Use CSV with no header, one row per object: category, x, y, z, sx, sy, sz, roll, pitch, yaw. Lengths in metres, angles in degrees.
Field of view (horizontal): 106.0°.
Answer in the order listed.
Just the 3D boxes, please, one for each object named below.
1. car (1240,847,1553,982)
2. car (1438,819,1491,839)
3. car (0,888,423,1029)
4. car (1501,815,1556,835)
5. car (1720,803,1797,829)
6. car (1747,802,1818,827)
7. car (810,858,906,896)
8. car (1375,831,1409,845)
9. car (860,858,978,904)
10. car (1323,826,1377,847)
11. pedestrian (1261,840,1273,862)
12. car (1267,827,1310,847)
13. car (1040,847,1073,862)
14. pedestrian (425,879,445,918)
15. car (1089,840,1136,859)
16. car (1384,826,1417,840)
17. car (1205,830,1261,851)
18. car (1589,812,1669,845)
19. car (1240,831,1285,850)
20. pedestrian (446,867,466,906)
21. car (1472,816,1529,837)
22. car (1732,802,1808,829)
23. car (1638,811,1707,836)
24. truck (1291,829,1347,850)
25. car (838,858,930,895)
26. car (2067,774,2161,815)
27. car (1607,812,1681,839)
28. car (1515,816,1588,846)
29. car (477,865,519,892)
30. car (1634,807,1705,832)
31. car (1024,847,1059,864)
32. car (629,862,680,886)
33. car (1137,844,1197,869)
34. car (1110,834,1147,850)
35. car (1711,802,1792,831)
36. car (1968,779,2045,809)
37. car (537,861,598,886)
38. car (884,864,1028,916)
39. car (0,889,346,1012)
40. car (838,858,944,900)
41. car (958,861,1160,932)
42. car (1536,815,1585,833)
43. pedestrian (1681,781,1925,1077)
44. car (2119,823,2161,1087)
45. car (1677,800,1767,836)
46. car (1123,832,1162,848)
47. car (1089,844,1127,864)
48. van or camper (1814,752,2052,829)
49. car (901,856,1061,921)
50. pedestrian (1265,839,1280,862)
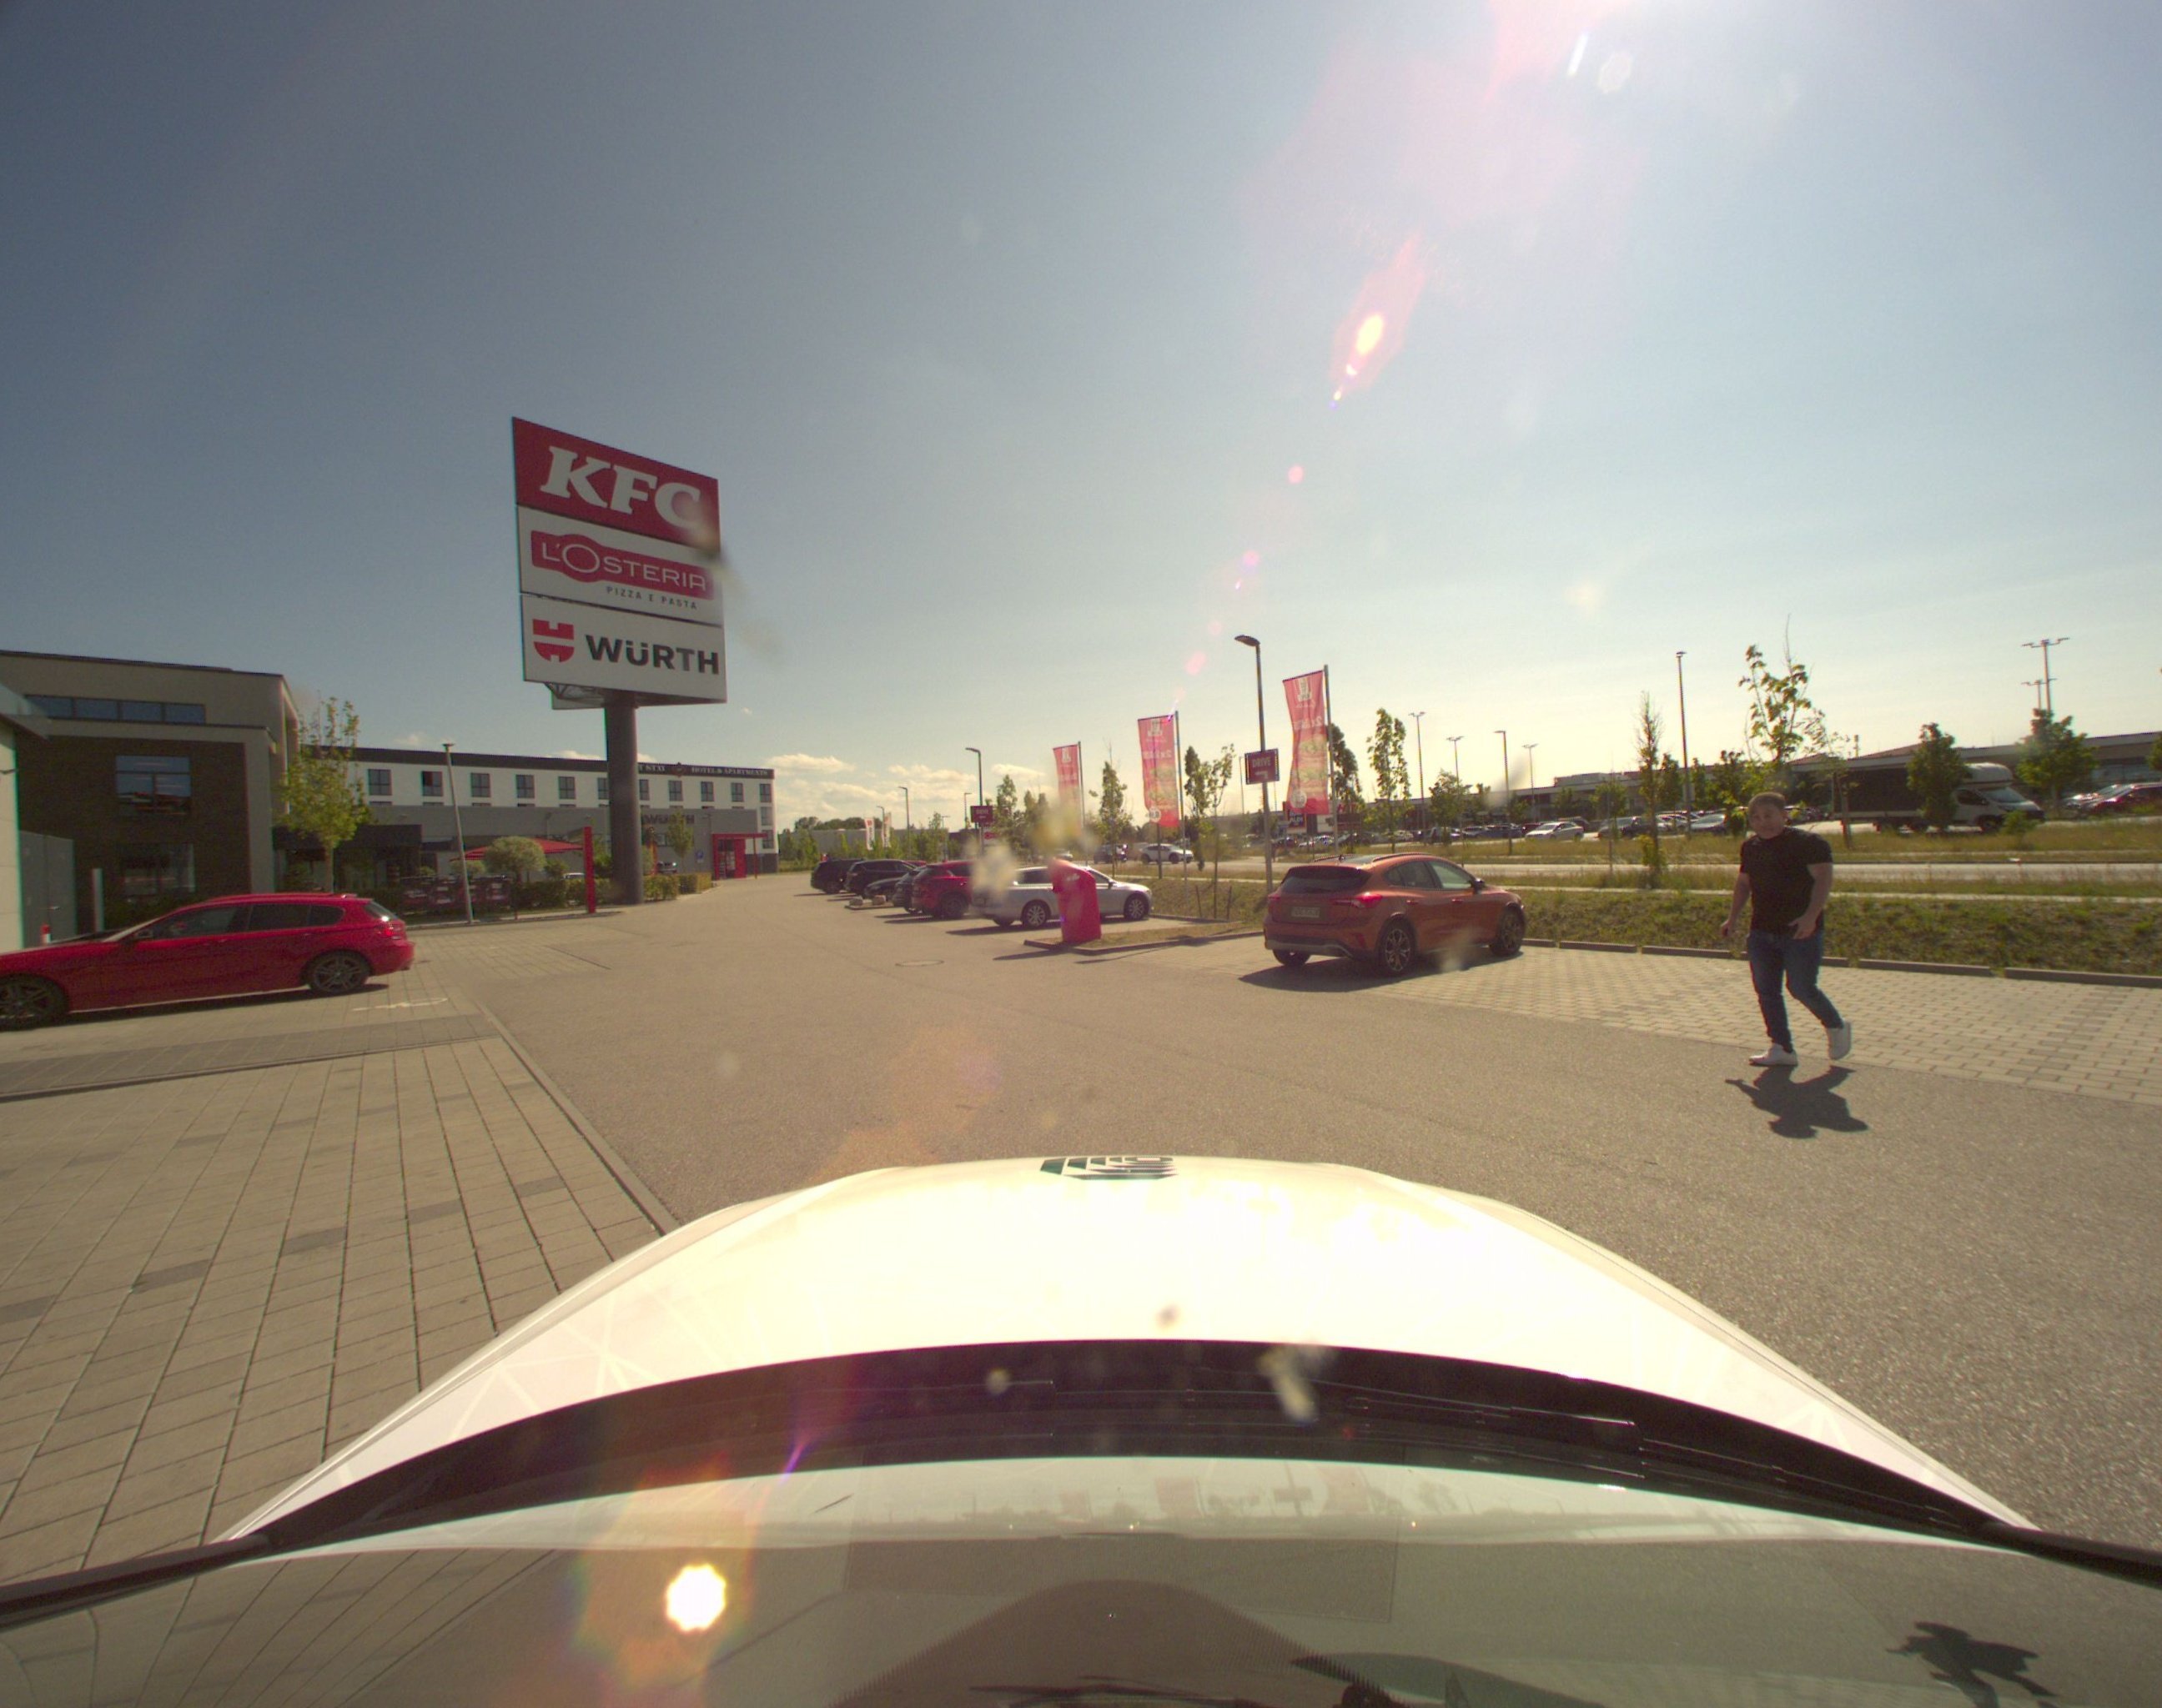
car,4.458,0.710,11.302,4.370,1.469,1.814,-2,-1,-33
car,43.370,-2.780,92.151,4.870,2.013,2.095,-2,1,45
car,-11.934,1.300,11.139,4.427,1.413,1.719,-2,0,-44
car,46.305,-2.982,84.305,1.966,1.855,4.519,-3,1,-41
car,53.017,-2.964,63.755,1.966,1.855,4.352,-3,1,-41
car,59.465,-3.308,69.076,1.966,1.855,4.352,-3,1,-41
car,-11.667,1.168,42.629,4.596,1.760,1.880,-2,0,-24
car,37.746,-1.912,99.019,3.432,1.552,1.677,-2,1,44
car,-6.613,1.075,33.292,4.454,1.638,1.882,-2,0,-22
car,25.741,-1.669,77.975,4.735,1.846,1.986,-3,1,-21
pedestrian,13.479,-0.223,59.028,0.625,1.556,0.663,-2,1,-15
car,23.031,-1.882,90.364,4.088,2.013,1.988,-3,1,-18
car,-2.674,0.104,88.333,2.002,1.504,4.623,-3,1,-22
pedestrian,-25.827,1.771,32.538,0.529,1.505,0.562,-3,1,-44
car,3.171,-0.464,83.045,1.998,1.731,5.165,-3,1,-37
car,39.651,-2.593,101.084,3.432,1.552,1.677,-2,1,44
car,18.608,-1.643,99.844,6.328,2.237,2.791,-3,1,-28
car,34.809,-1.626,51.755,4.402,1.855,1.944,-3,1,-18
car,21.215,-1.603,95.259,5.197,2.013,1.980,-3,1,-32
pedestrian,-25.200,1.303,32.818,0.529,1.505,0.562,-3,1,-44
car,40.586,-2.667,78.861,1.966,1.855,4.519,-3,1,-41
car,55.018,-3.066,65.054,1.966,1.855,4.352,-3,1,-41
car,49.840,-2.533,68.645,1.966,1.855,4.352,-3,1,-41
truck,24.209,-1.460,82.843,5.437,1.863,1.986,-3,1,-22
car,-9.777,1.079,40.408,4.088,1.608,1.880,-2,0,-25
car,54.160,-3.071,41.914,1.880,1.855,4.216,-3,1,-41
car,43.738,-2.191,63.333,1.966,1.855,4.352,-3,1,-41
car,32.565,-1.600,56.419,4.284,1.855,1.988,-3,1,-18
car,-31.689,1.299,44.253,1.656,1.308,3.797,-3,1,-38
car,47.770,-2.781,66.144,1.966,1.855,4.352,-3,1,-41
car,-3.983,0.148,81.045,2.002,1.526,4.622,-3,1,-23
car,-35.749,1.684,68.200,4.816,1.880,2.091,-2,1,41
car,6.742,0.217,64.016,2.012,1.845,4.352,-3,1,-44
car,6.928,-1.738,118.821,5.094,2.013,1.980,-3,1,-32
car,49.536,-2.769,60.250,1.966,1.855,4.352,-3,1,-41
car,73.827,-4.757,64.999,2.010,2.013,3.954,-3,1,-38
car,-34.087,1.323,54.047,4.319,1.530,1.966,-2,1,37
car,-3.993,1.093,26.207,4.221,1.410,1.756,-2,0,-31
car,-14.355,1.416,12.944,3.930,1.506,1.719,-2,0,-42
car,-8.729,1.111,37.487,4.344,1.702,1.878,-2,0,-29
car,-0.485,0.954,19.745,4.614,1.413,1.724,-2,0,-29
car,55.018,-3.476,93.512,1.966,1.855,4.352,-3,1,-41
pedestrian,4.787,0.469,5.489,0.983,1.809,0.729,-2,-1,20
car,8.317,0.493,5.043,4.497,1.469,1.815,-2,-1,-32
car,36.808,-2.040,46.764,4.402,1.855,1.944,-3,1,-18
car,8.606,-2.005,113.728,5.094,2.013,1.980,-3,1,-32
car,2.418,0.008,74.163,1.879,1.664,4.571,-3,1,-20
van or camper,40.642,-2.907,39.376,2.409,3.101,8.035,-2,1,-7
car,-2.915,0.954,23.942,4.243,1.638,1.932,-2,0,-29
pedestrian,13.658,-0.227,58.118,0.691,1.599,0.752,-2,1,-15
